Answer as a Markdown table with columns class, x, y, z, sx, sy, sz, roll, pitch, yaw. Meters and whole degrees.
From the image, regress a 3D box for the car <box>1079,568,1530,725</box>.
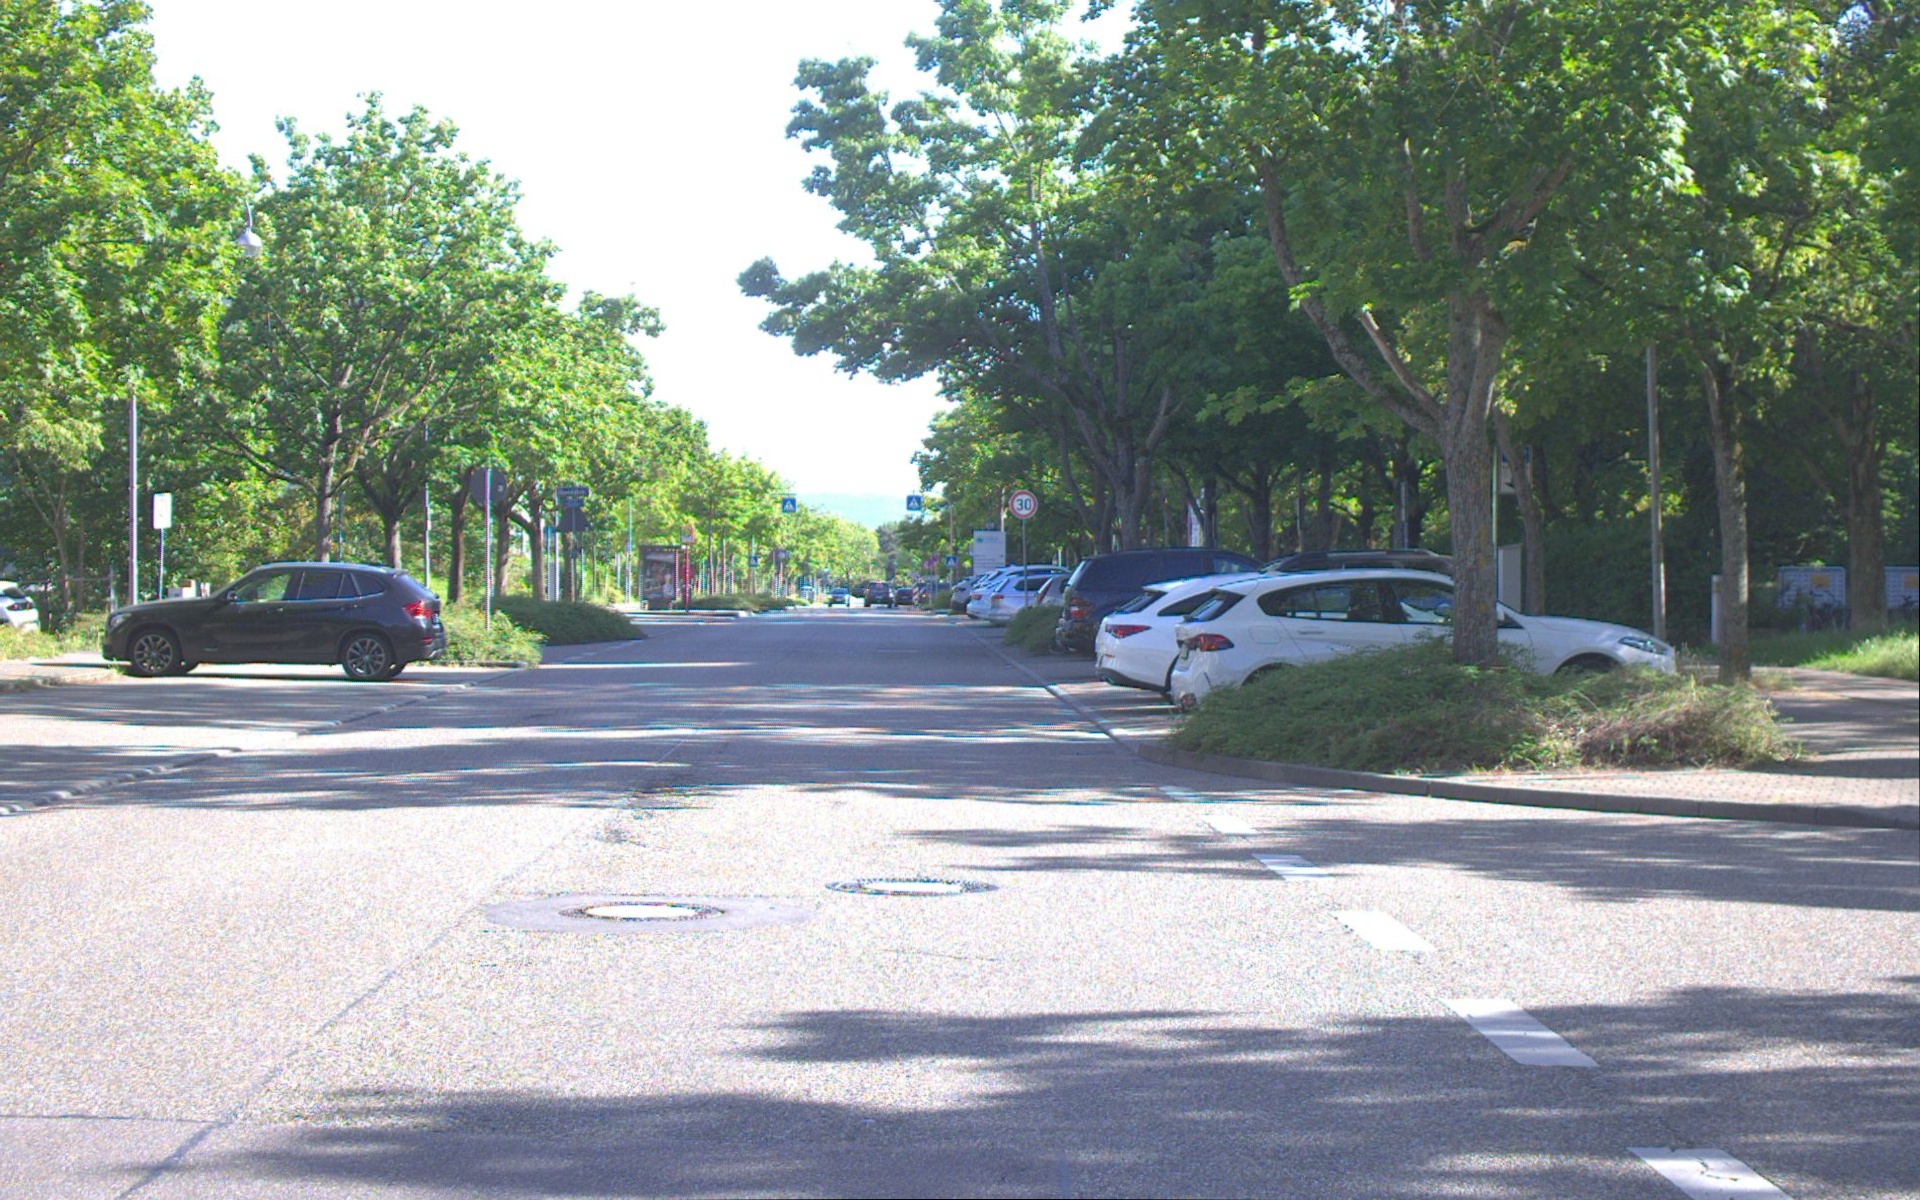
| class | x | y | z | sx | sy | sz | roll | pitch | yaw |
| --- | --- | --- | --- | --- | --- | --- | --- | --- | --- |
| car | 3.562 | 0.476 | 36.075 | 4.441 | 1.540 | 1.818 | 1 | 0 | -4 |

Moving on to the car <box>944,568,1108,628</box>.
| class | x | y | z | sx | sy | sz | roll | pitch | yaw |
| --- | --- | --- | --- | --- | --- | --- | --- | --- | --- |
| car | 1.796 | -0.052 | 94.444 | 4.342 | 1.484 | 1.738 | -2 | 0 | -3 |

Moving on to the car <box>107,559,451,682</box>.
| class | x | y | z | sx | sy | sz | roll | pitch | yaw |
| --- | --- | --- | --- | --- | --- | --- | --- | --- | --- |
| car | -8.976 | 0.263 | 45.524 | 4.192 | 1.515 | 1.772 | 1 | 0 | 0 |

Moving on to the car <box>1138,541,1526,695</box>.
| class | x | y | z | sx | sy | sz | roll | pitch | yaw |
| --- | --- | --- | --- | --- | --- | --- | --- | --- | --- |
| car | 4.181 | 0.209 | 39.071 | 4.117 | 1.612 | 1.734 | -1 | -1 | -3 |

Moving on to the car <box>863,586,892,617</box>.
| class | x | y | z | sx | sy | sz | roll | pitch | yaw |
| --- | --- | --- | --- | --- | --- | --- | --- | --- | --- |
| car | -5.886 | 0.095 | 245.428 | 1.993 | 2.006 | 4.001 | 1 | 2 | -1 |

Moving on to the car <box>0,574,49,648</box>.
| class | x | y | z | sx | sy | sz | roll | pitch | yaw |
| --- | --- | --- | --- | --- | --- | --- | --- | --- | --- |
| car | -20.559 | 0.262 | 69.038 | 4.077 | 1.446 | 1.625 | -2 | 0 | 0 |

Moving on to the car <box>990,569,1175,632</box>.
| class | x | y | z | sx | sy | sz | roll | pitch | yaw |
| --- | --- | --- | --- | --- | --- | --- | --- | --- | --- |
| car | 2.894 | 0.007 | 80.460 | 4.275 | 1.423 | 1.827 | 1 | 0 | 4 |

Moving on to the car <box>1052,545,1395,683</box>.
| class | x | y | z | sx | sy | sz | roll | pitch | yaw |
| --- | --- | --- | --- | --- | --- | --- | --- | --- | --- |
| car | 3.637 | 0.187 | 48.057 | 4.586 | 1.773 | 2.000 | -1 | 0 | -1 |

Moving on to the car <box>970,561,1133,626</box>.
| class | x | y | z | sx | sy | sz | roll | pitch | yaw |
| --- | --- | --- | --- | --- | --- | --- | --- | --- | --- |
| car | 2.569 | -0.190 | 97.155 | 4.434 | 1.642 | 1.816 | -3 | 1 | -3 |

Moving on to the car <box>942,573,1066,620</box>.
| class | x | y | z | sx | sy | sz | roll | pitch | yaw |
| --- | --- | --- | --- | --- | --- | --- | --- | --- | --- |
| car | 1.508 | -0.131 | 118.810 | 4.164 | 1.423 | 2.000 | -3 | 0 | -1 |

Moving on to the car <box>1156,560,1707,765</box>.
| class | x | y | z | sx | sy | sz | roll | pitch | yaw |
| --- | --- | --- | --- | --- | --- | --- | --- | --- | --- |
| car | 4.043 | 0.520 | 29.944 | 4.426 | 1.587 | 1.837 | -2 | 0 | -4 |

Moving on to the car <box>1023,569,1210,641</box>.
| class | x | y | z | sx | sy | sz | roll | pitch | yaw |
| --- | --- | --- | --- | --- | --- | --- | --- | --- | --- |
| car | 3.425 | 0.102 | 75.756 | 3.987 | 1.446 | 1.717 | -2 | 1 | -1 |
